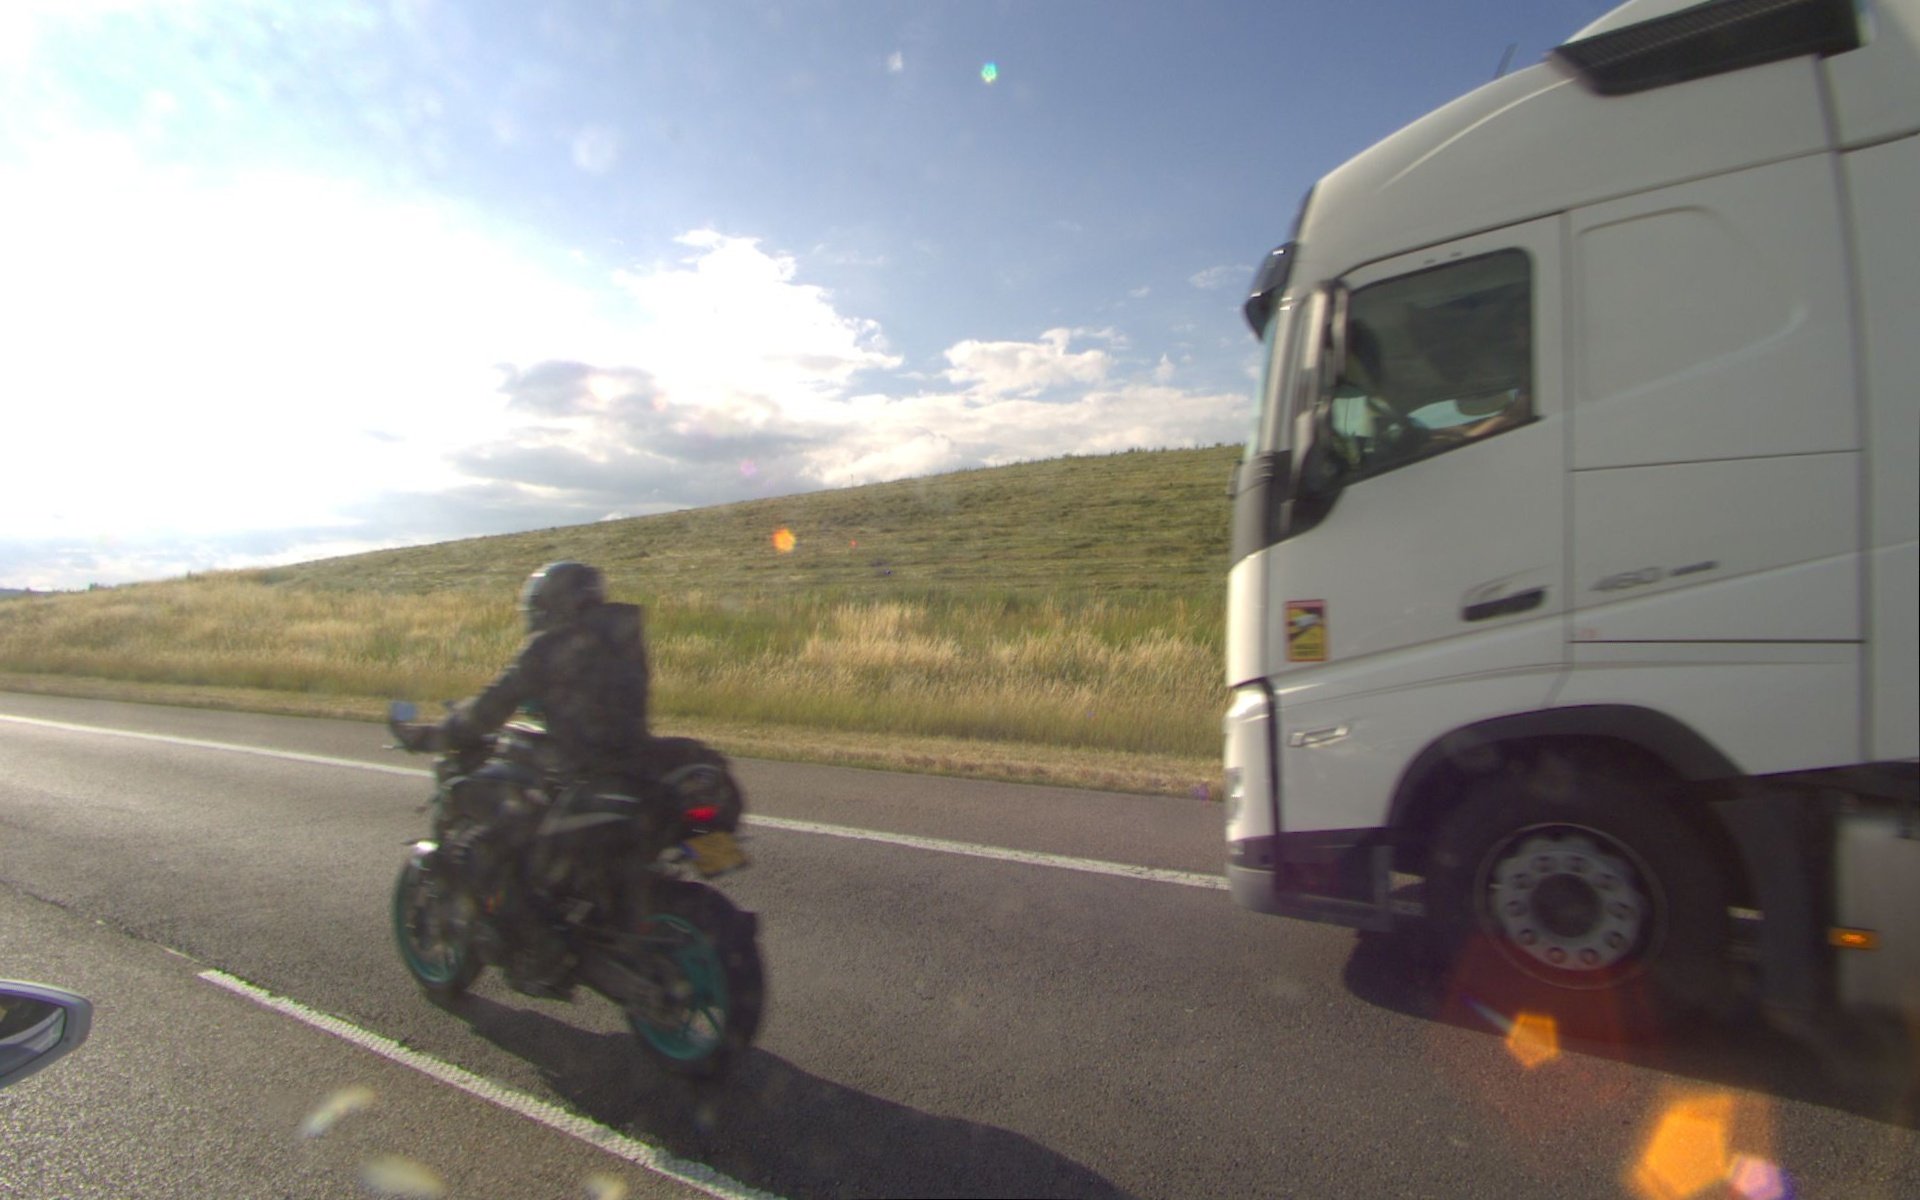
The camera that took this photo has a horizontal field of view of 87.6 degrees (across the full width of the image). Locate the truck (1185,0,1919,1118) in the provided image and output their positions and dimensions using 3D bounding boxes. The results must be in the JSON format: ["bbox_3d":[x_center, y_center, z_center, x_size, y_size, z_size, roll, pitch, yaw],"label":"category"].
[{"bbox_3d":[4.186,-0.474,3.751,6.031,4.093,2.597,-1,-1,32],"label":"truck"}]

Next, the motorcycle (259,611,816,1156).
[{"bbox_3d":[-1.566,0.795,3.614,1.954,1.474,0.894,-1,-1,32],"label":"motorcycle"}]

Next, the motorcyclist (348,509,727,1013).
[{"bbox_3d":[-1.471,0.488,3.552,0.879,1.474,0.894,-1,-1,32],"label":"motorcyclist"}]

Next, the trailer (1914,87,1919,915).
[{"bbox_3d":[9.808,-0.575,0.282,13.500,4.093,2.612,-1,-1,32],"label":"trailer"}]
